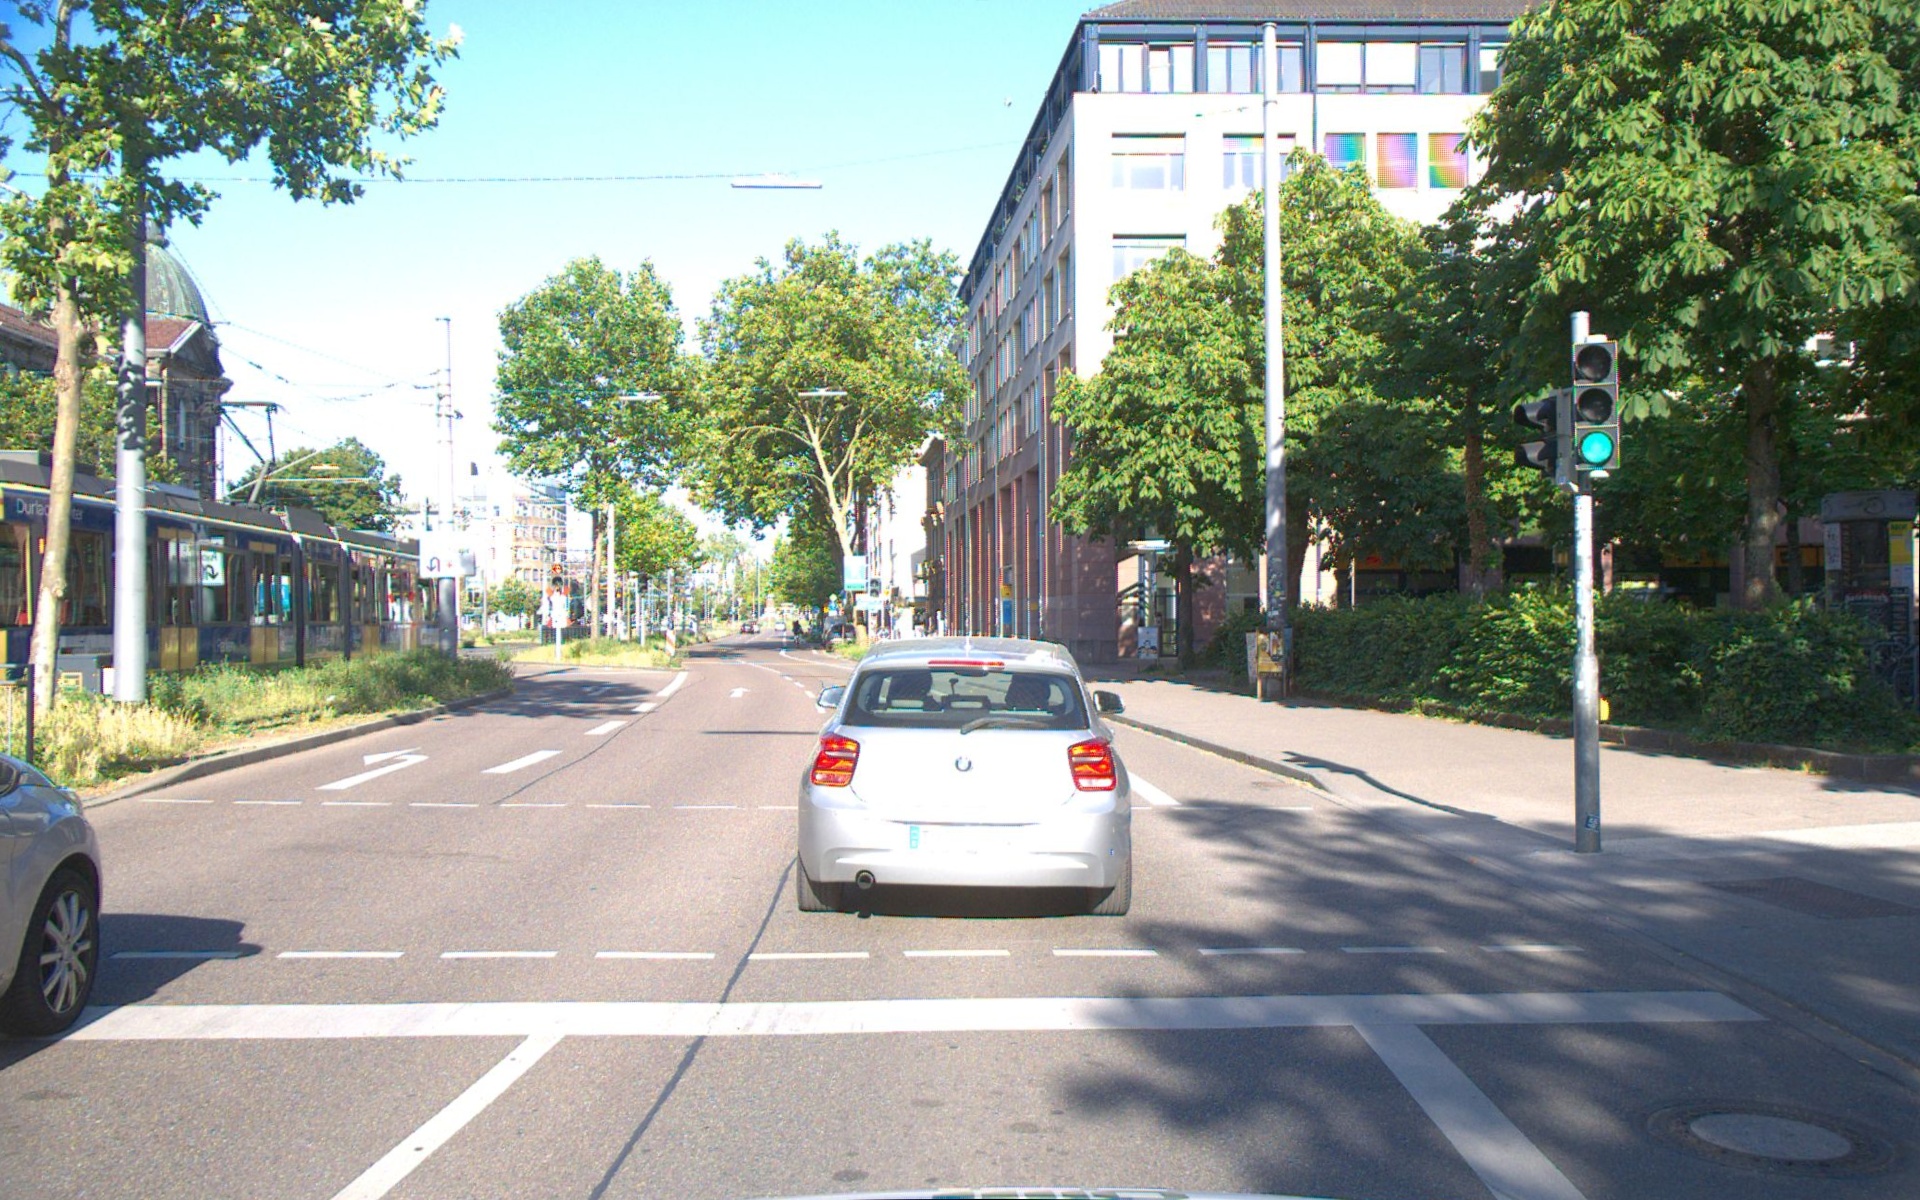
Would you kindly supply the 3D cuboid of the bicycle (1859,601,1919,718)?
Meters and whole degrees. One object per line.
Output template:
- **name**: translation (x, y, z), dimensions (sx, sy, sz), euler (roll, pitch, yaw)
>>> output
- **bicycle**: translation (11.786, 0.667, 19.581), dimensions (1.956, 1.337, 0.573), euler (-2, -1, -3)

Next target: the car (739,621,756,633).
- **car**: translation (-27.539, 3.480, 214.085), dimensions (1.957, 1.512, 3.990), euler (0, -1, -10)

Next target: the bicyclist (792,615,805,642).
- **bicyclist**: translation (-10.080, 1.777, 103.453), dimensions (0.644, 1.686, 0.765), euler (-1, -1, 4)

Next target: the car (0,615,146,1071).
- **car**: translation (-3.765, 0.739, 4.361), dimensions (1.628, 1.434, 3.628), euler (1, -1, -4)

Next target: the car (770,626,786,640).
- **car**: translation (-27.580, 4.956, 250.630), dimensions (1.953, 2.049, 3.998), euler (1, -2, -1)

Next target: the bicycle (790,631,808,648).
- **bicycle**: translation (-10.067, 2.472, 103.518), dimensions (0.814, 1.059, 1.875), euler (-1, -1, 4)

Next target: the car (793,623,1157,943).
- **car**: translation (0.128, 0.886, 9.715), dimensions (1.694, 1.415, 3.840), euler (1, 0, 2)

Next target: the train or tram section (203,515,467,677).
- **train or tram section**: translation (-14.954, 0.112, 40.987), dimensions (2.859, 3.318, 13.092), euler (1, -2, -6)

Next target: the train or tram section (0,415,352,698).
- **train or tram section**: translation (-13.421, -0.323, 26.572), dimensions (2.858, 3.318, 15.871), euler (1, -2, -6)

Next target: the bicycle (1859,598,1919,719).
- **bicycle**: translation (11.438, 0.638, 18.948), dimensions (1.956, 1.337, 0.573), euler (-2, -1, -3)
